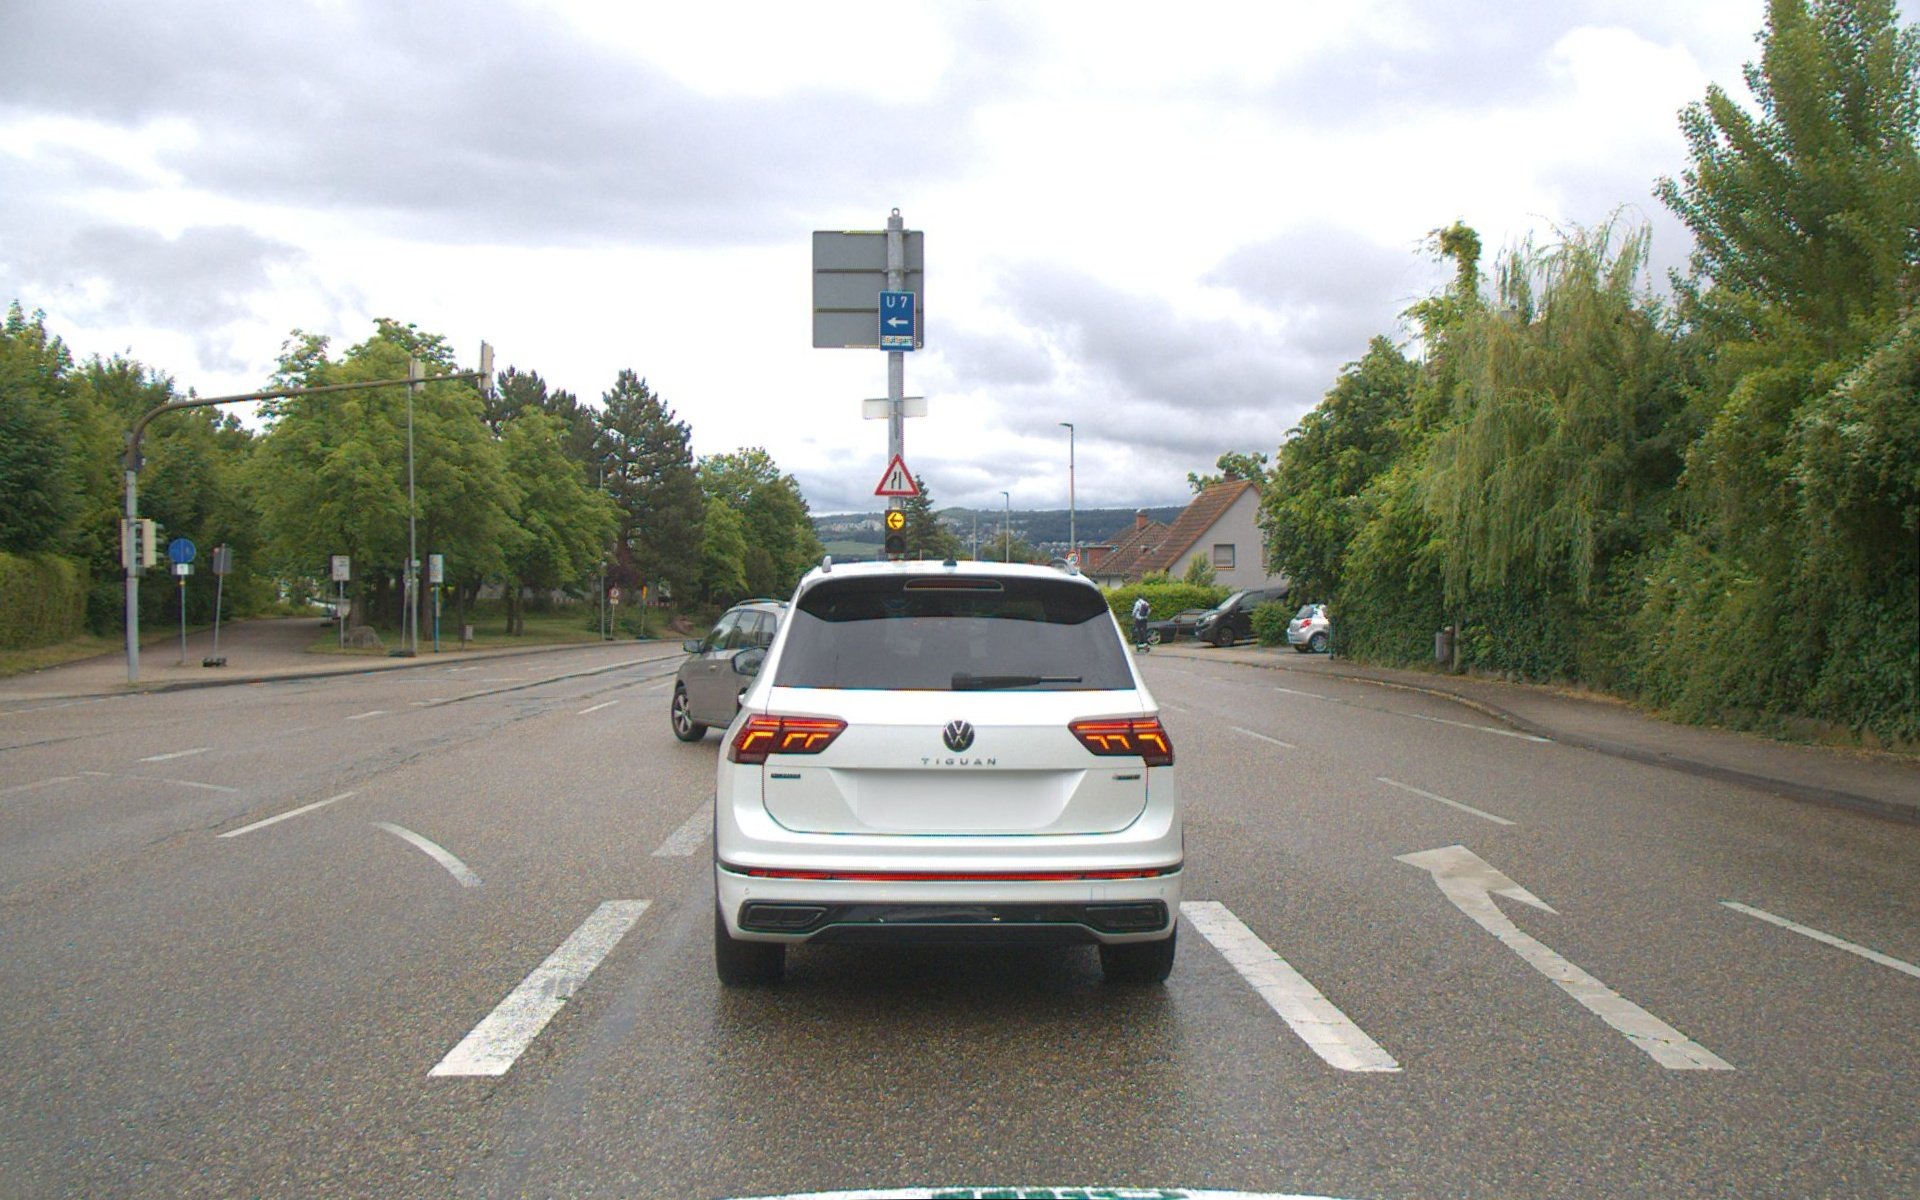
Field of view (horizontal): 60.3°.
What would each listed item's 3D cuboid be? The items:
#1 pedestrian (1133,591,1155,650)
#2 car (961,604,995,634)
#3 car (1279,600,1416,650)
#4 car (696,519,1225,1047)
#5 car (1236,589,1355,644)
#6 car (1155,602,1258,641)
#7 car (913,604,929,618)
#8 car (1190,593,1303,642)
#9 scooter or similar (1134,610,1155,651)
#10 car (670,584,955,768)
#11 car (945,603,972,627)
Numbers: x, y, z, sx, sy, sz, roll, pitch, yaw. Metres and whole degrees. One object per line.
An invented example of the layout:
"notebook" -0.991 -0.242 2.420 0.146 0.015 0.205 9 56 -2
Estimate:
"pedestrian" 6.375 0.710 57.277 0.642 2.037 0.717 0 0 -5
"car" 1.005 1.071 94.744 1.813 1.602 3.999 1 0 -1
"car" 11.664 0.753 49.888 3.644 1.420 1.725 -1 -1 -8
"car" -0.060 0.606 7.642 1.727 1.725 4.271 1 0 -2
"car" 11.191 0.528 55.249 3.556 1.777 1.706 0 0 -5
"car" 9.284 0.814 62.474 3.614 1.394 1.518 1 -2 -3
"car" -4.541 1.316 195.090 1.813 1.602 3.999 -1 0 -1
"car" 9.959 0.586 57.641 3.557 1.654 1.789 0 0 -5
"scooter or similar" 6.420 1.042 57.562 0.452 1.385 1.383 0 0 -4
"car" -1.620 0.663 16.740 1.774 1.617 3.898 0 0 -23
"car" -0.144 0.998 113.377 1.813 1.602 3.999 0 0 -1
